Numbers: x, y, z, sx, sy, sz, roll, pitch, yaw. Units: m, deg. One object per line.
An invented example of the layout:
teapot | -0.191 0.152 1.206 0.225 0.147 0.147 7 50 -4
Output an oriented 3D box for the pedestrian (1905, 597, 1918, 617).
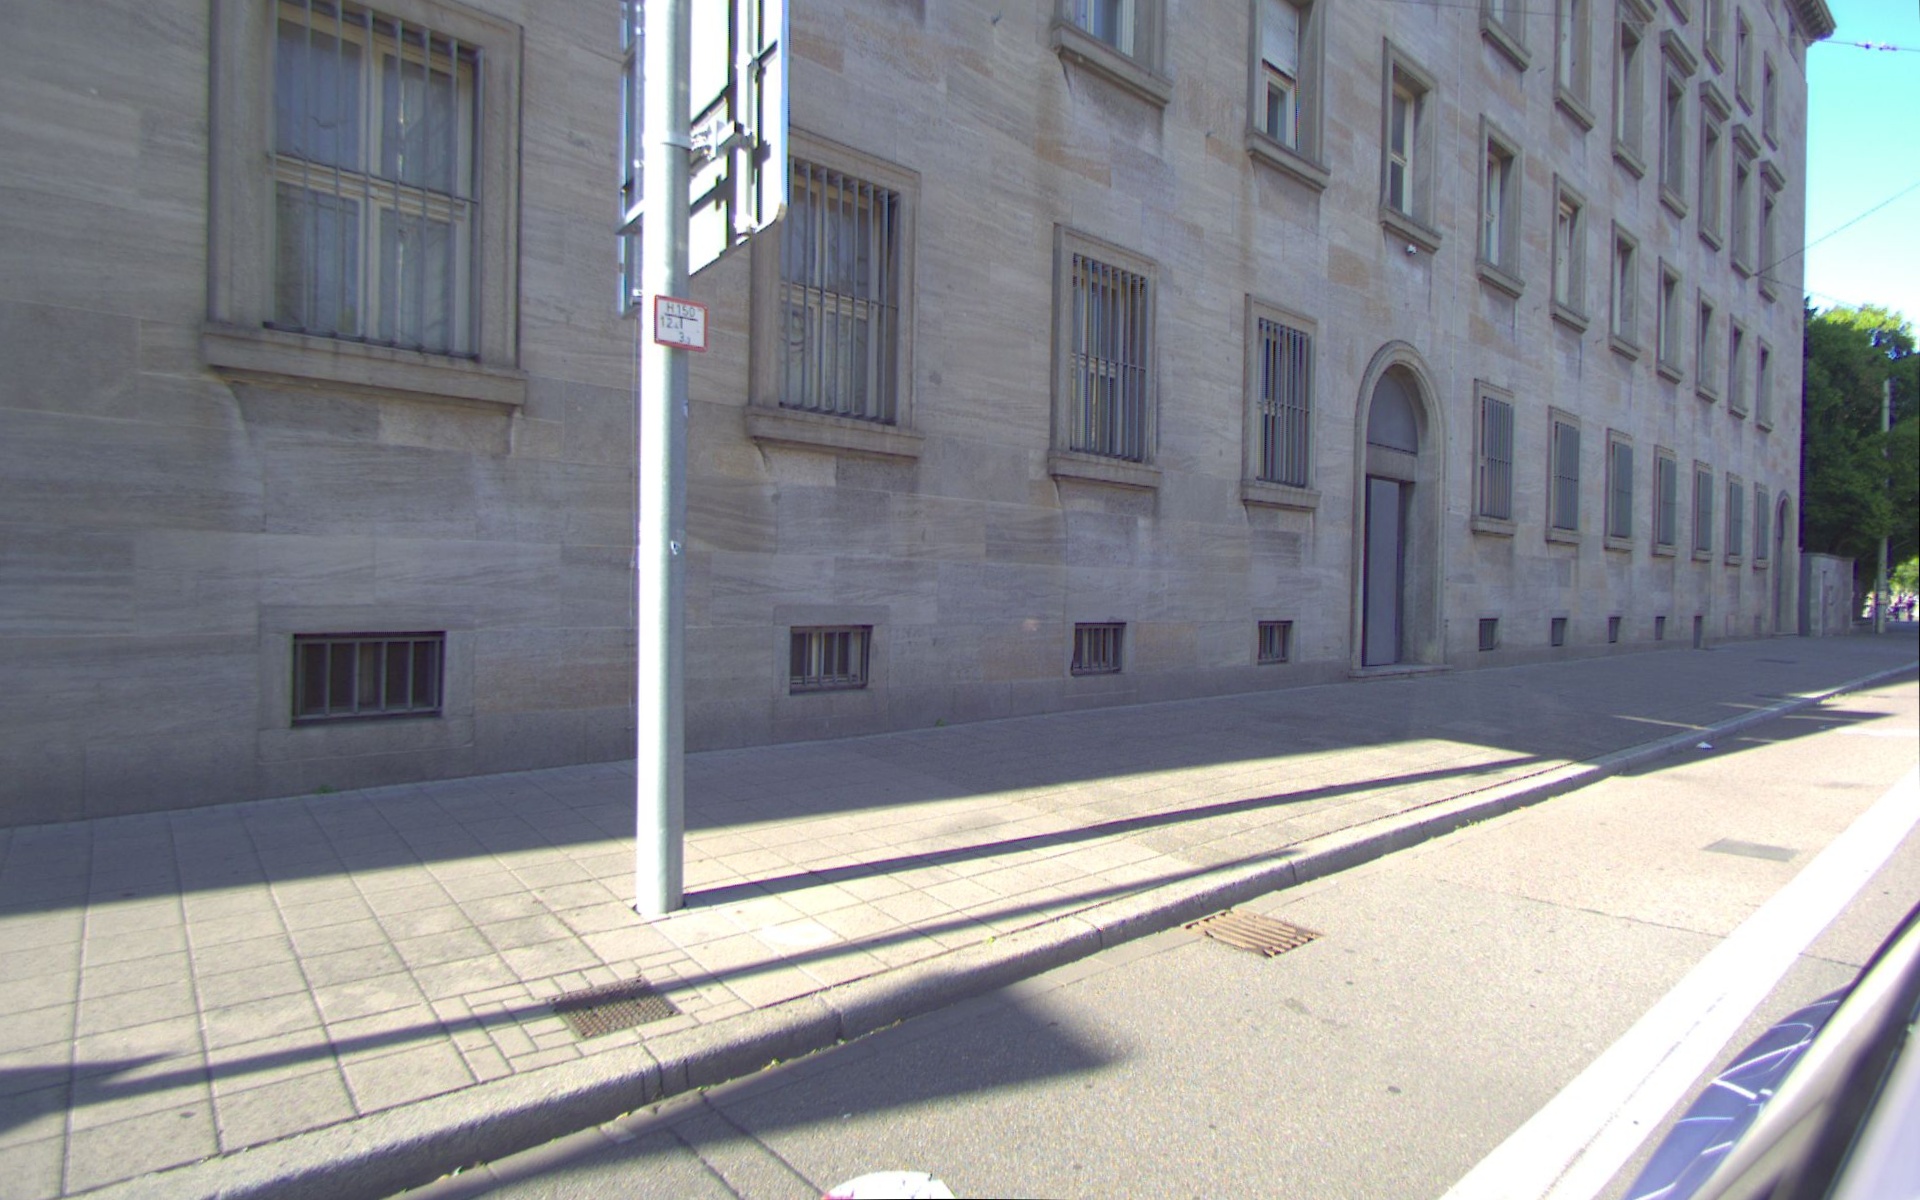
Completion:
pedestrian | 83.106 0.625 88.385 0.828 1.742 0.792 1 1 43

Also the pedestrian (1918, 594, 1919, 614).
pedestrian | 83.590 0.335 87.633 0.791 1.742 0.870 0 1 -44

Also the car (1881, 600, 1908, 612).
car | 128.375 0.833 139.025 1.863 1.621 4.376 1 1 32
